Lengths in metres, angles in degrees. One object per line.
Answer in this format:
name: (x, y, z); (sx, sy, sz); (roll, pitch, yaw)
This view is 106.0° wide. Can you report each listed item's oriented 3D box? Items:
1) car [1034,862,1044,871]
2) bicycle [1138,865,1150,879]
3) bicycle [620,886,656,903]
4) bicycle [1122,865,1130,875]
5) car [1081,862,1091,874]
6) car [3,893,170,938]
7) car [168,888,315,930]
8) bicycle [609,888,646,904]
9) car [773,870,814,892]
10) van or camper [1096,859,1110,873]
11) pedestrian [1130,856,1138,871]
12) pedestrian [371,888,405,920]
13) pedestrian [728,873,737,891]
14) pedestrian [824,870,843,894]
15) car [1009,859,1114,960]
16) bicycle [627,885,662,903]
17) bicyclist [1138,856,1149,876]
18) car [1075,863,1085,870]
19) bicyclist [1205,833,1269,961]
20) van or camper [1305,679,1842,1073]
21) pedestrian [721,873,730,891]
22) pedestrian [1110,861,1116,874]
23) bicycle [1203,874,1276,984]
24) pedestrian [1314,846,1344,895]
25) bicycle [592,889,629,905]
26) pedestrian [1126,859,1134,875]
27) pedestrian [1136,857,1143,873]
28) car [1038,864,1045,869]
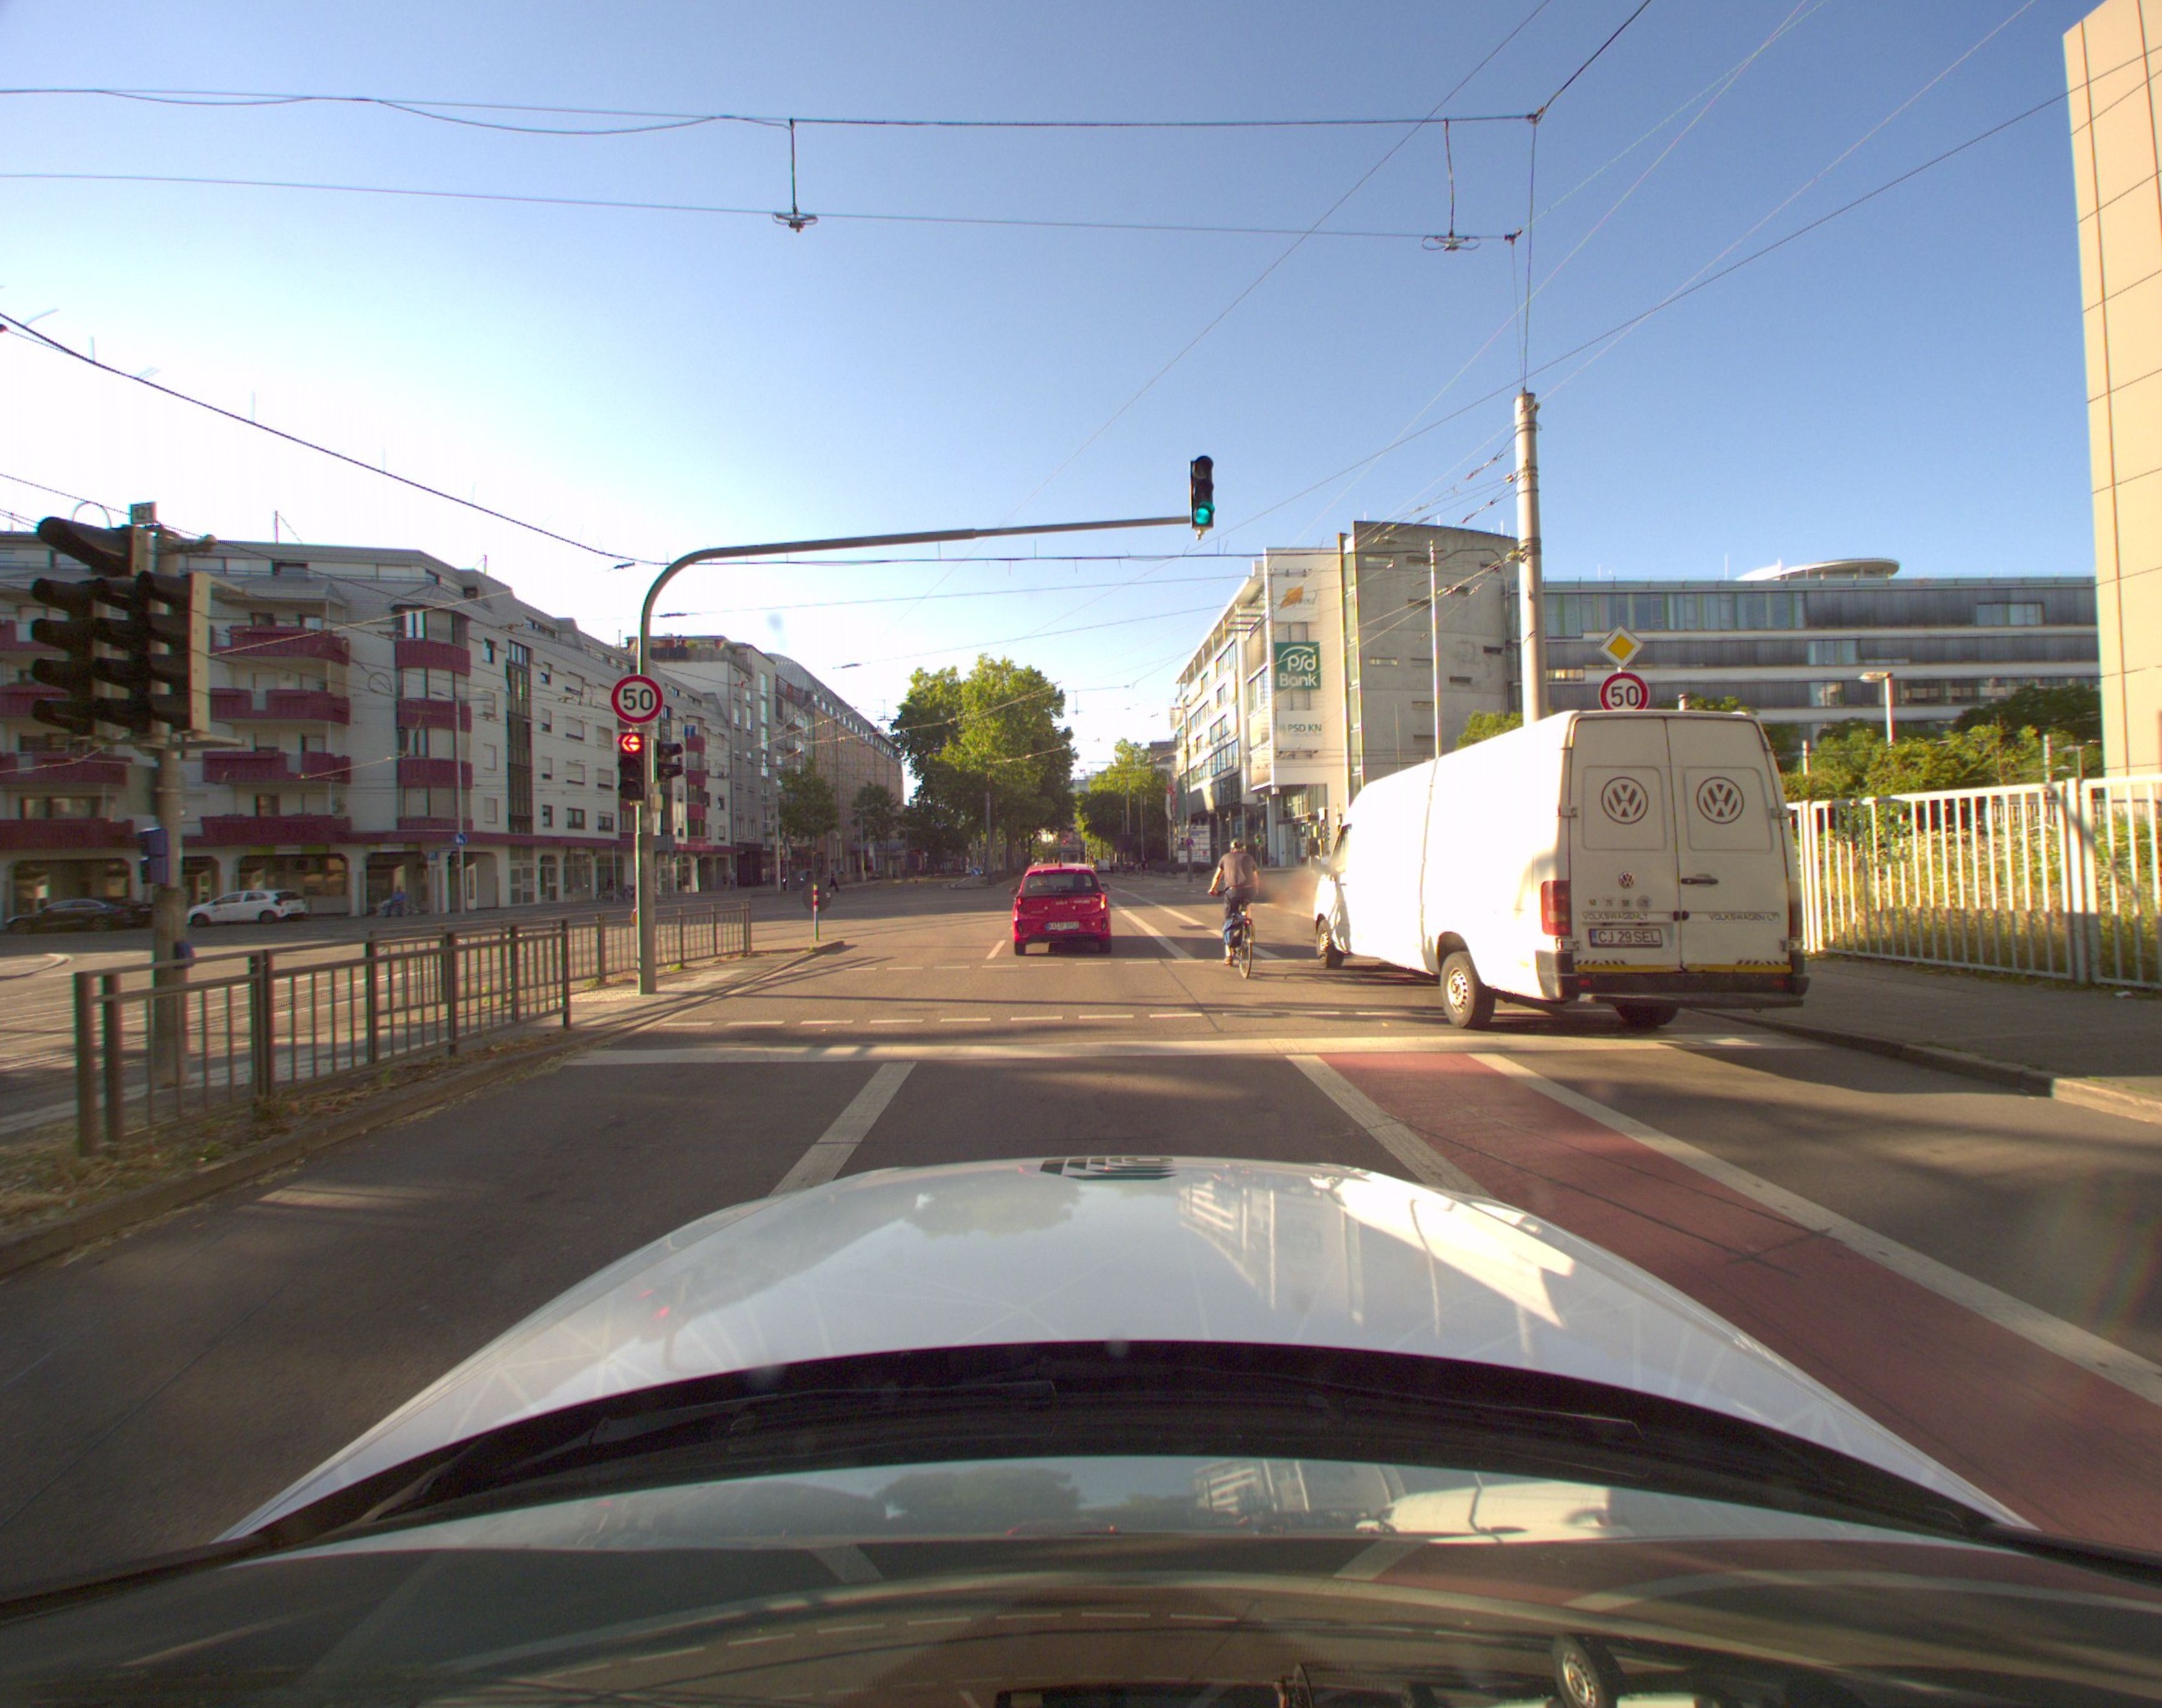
car: (-9.556, 2.756, 184.147); (1.990, 2.014, 3.993); (-2, -1, -5)
bicycle: (5.339, 1.482, 68.863); (0.694, 1.098, 1.749); (-5, 0, -2)
bicycle: (-27.040, 2.472, 49.676); (1.840, 0.985, 0.552); (-2, -1, -5)
bicycle: (4.725, 1.725, 85.754); (0.519, 0.975, 2.198); (-5, 0, -4)
car: (0.904, 2.368, 137.851); (1.630, 1.800, 3.329); (-2, -1, 0)
car: (-41.917, 2.565, 34.441); (4.111, 1.555, 1.993); (-2, -1, -11)
car: (-36.644, 2.355, 35.658); (3.988, 1.555, 1.993); (-2, -1, -11)
bicycle: (-26.967, 2.495, 48.404); (1.837, 0.854, 0.553); (-2, -1, 0)
car: (-23.430, 2.187, 66.562); (1.950, 1.672, 4.256); (-2, 0, -3)
van or camper: (3.501, 1.899, 128.857); (1.988, 1.989, 4.742); (-1, -1, -1)
pedestrian: (6.013, 1.099, 92.494); (0.563, 1.702, 0.905); (-5, -1, -4)
pedestrian: (-32.091, 2.301, 37.711); (0.857, 1.384, 0.833); (-2, -1, -13)
pedestrian: (-30.395, 2.429, 71.118); (0.533, 1.494, 0.586); (-2, -1, -5)
pedestrian: (-16.790, 1.904, 55.271); (1.045, 1.544, 0.692); (-2, -1, -9)
car: (-0.350, 0.872, 14.377); (1.609, 1.535, 3.409); (-1, -1, -2)
bicycle: (-26.942, 2.473, 50.288); (1.840, 0.985, 0.552); (-2, -1, -5)
bicyclist: (5.305, 1.031, 68.847); (0.720, 1.603, 1.087); (-4, -1, -3)
car: (-0.289, 2.592, 172.062); (1.776, 1.535, 3.504); (-1, -1, -7)
bicyclist: (2.068, 0.551, 10.906); (0.647, 1.603, 1.089); (-2, -1, 3)
van or camper: (4.295, 0.168, 8.824); (1.962, 2.716, 6.303); (-1, 0, 0)
pedestrian: (-30.965, 2.431, 70.944); (0.533, 1.494, 0.586); (-2, -1, -5)
pedestrian: (4.070, 1.669, 103.672); (0.639, 1.579, 0.723); (-5, -1, 1)
bicycle: (2.072, 0.942, 10.883); (0.647, 1.281, 1.967); (-2, -1, 3)
pedestrian: (9.551, 0.630, 31.385); (0.774, 1.824, 1.217); (-2, -1, 4)
bicycle: (-27.540, 2.521, 47.652); (1.837, 0.854, 0.553); (-2, -1, 0)
pedestrian: (5.167, 1.366, 85.847); (0.645, 1.680, 0.650); (-2, -1, -3)
pedestrian: (6.687, 1.236, 93.032); (0.539, 1.796, 0.905); (-5, -1, -4)
car: (-12.236, 3.854, 253.207); (1.776, 1.535, 3.403); (-1, -1, -7)
